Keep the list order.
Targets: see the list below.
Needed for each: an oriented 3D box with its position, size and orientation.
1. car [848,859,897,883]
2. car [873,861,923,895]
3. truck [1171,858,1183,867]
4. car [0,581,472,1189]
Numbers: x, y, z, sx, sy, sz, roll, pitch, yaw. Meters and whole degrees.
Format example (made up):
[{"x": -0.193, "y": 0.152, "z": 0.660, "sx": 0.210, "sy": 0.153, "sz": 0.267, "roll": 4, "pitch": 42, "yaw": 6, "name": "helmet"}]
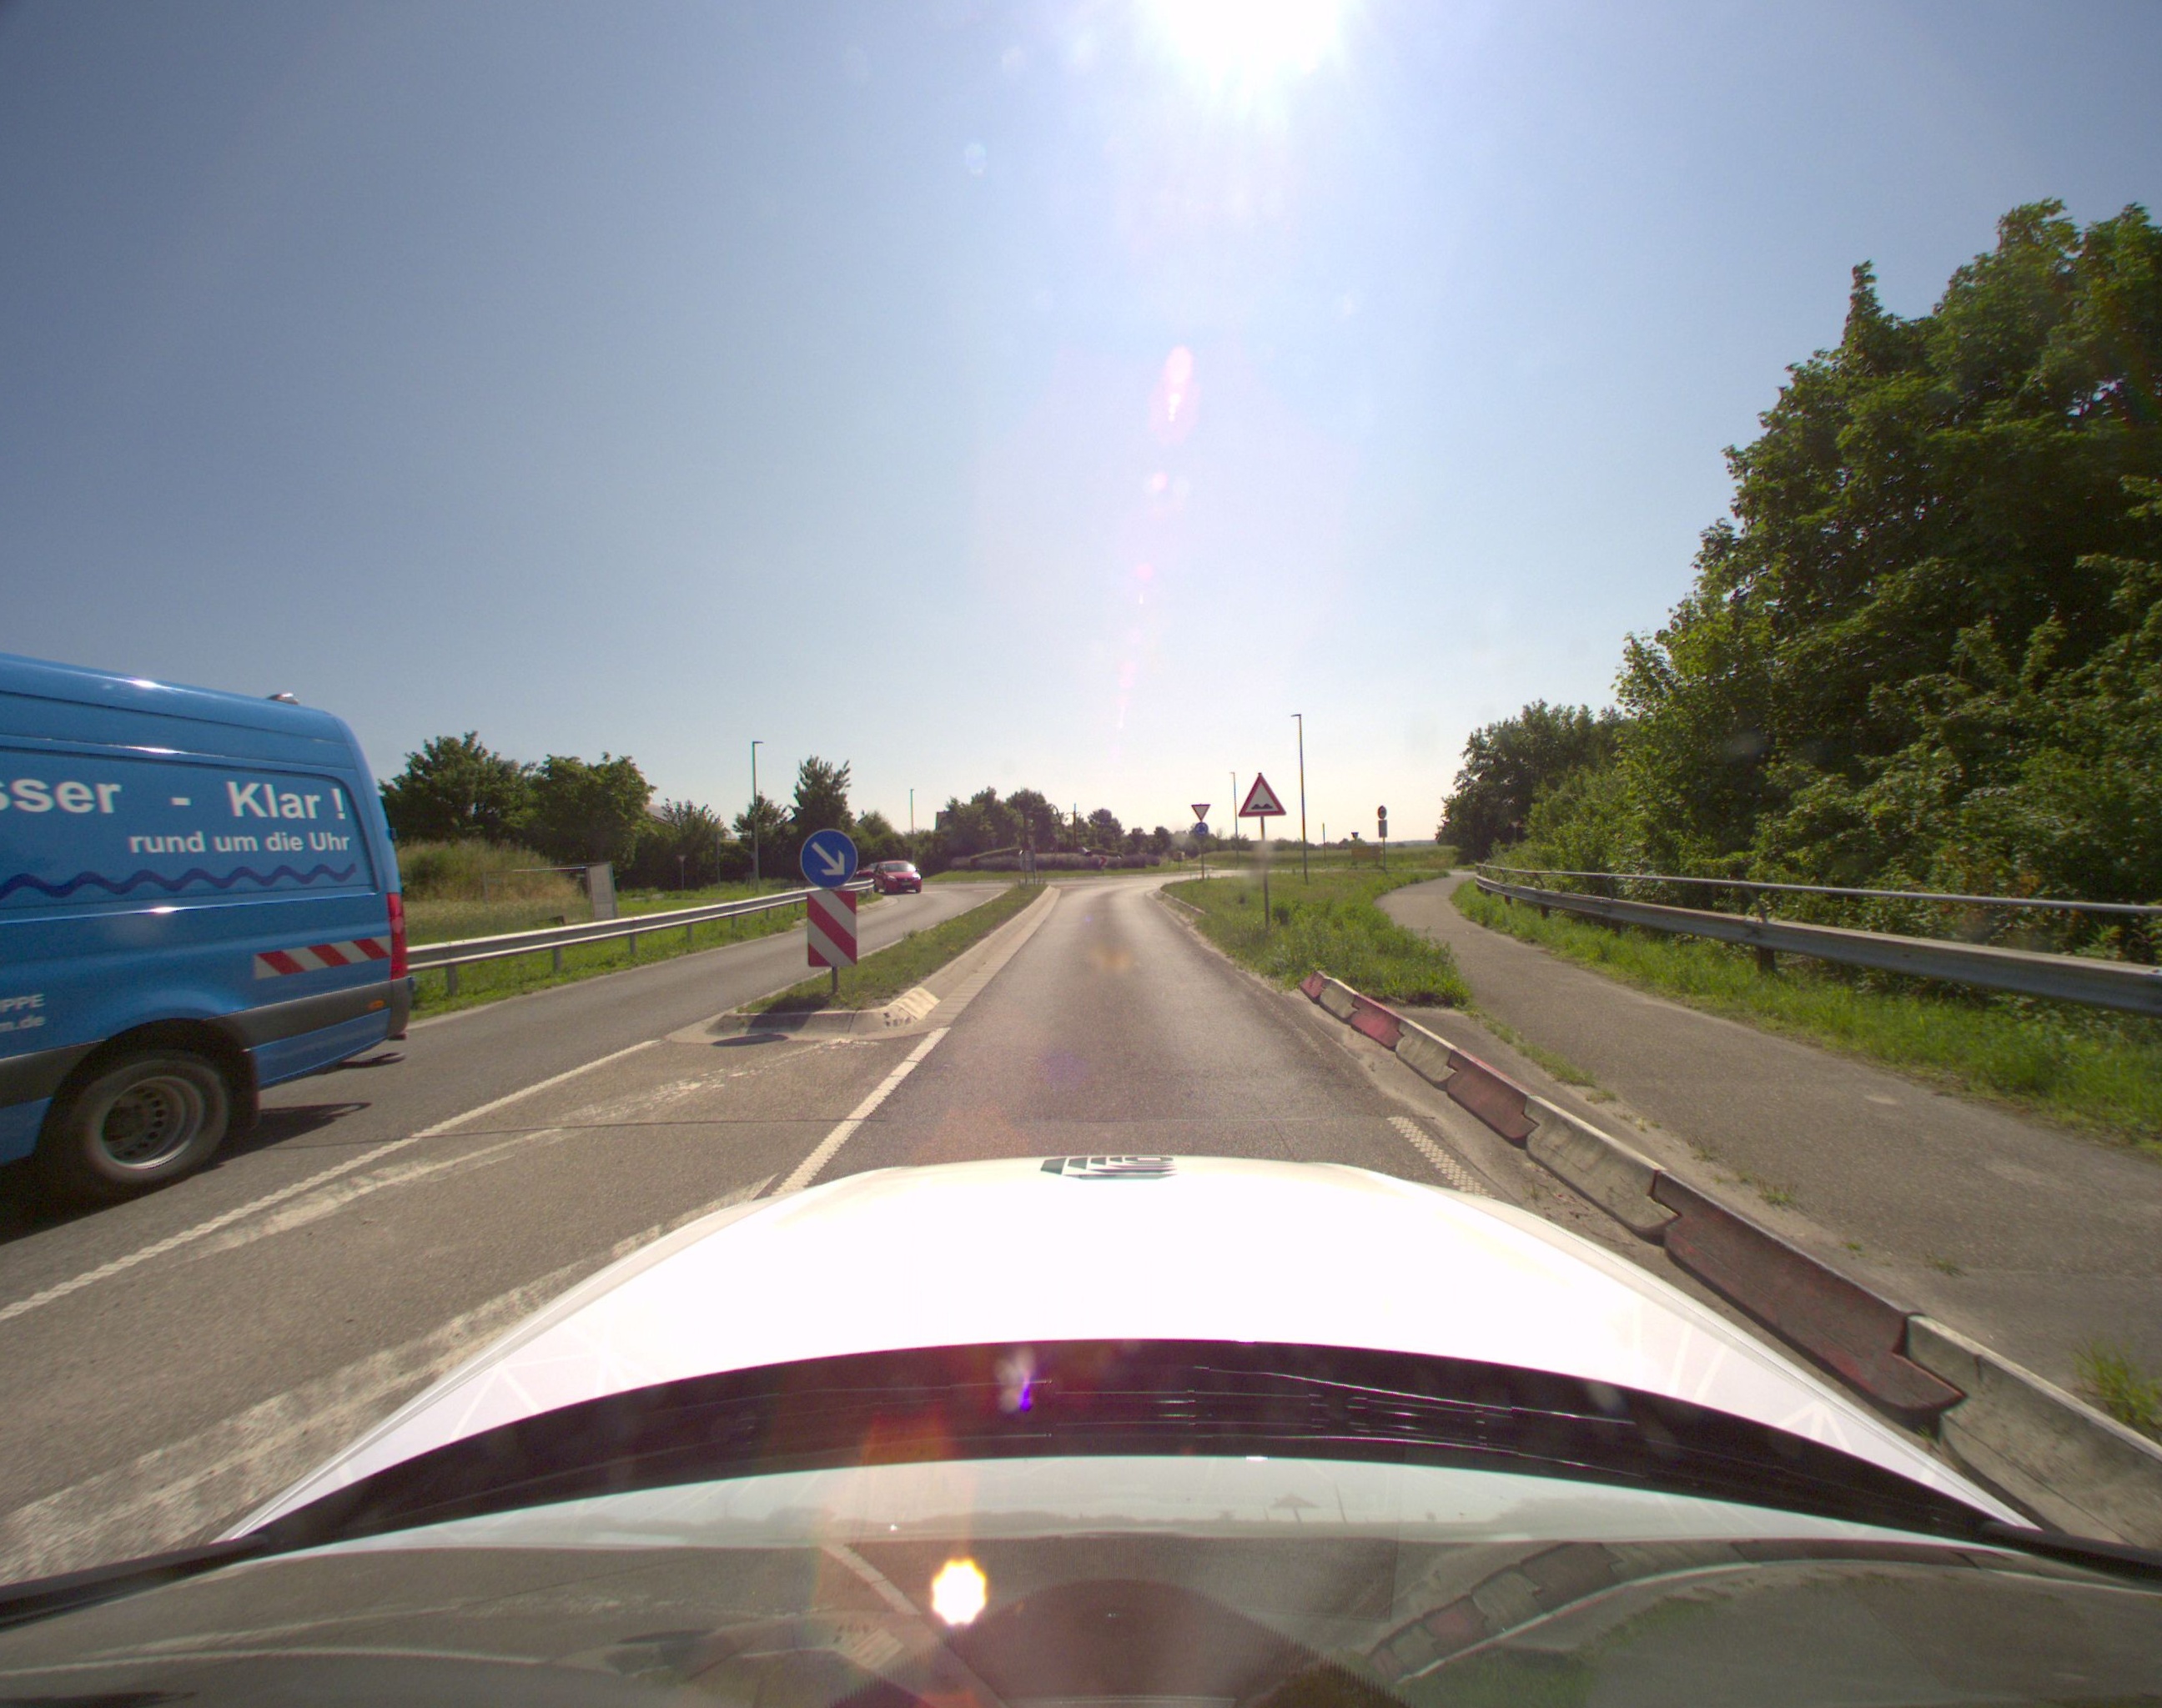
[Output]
[{"x": -14.995, "y": 1.207, "z": 58.835, "sx": 1.732, "sy": 1.523, "sz": 3.845, "roll": -3, "pitch": -1, "yaw": 14, "name": "car"}, {"x": -8.833, "y": 1.188, "z": 39.078, "sx": 1.634, "sy": 1.491, "sz": 3.772, "roll": -2, "pitch": -2, "yaw": -23, "name": "car"}, {"x": 22.127, "y": 2.051, "z": 187.782, "sx": 1.978, "sy": 2.014, "sz": 4.017, "roll": -2, "pitch": -2, "yaw": 16, "name": "truck"}, {"x": -5.659, "y": 0.151, "z": 2.414, "sx": 1.986, "sy": 2.611, "sz": 7.291, "roll": -4, "pitch": -1, "yaw": 1, "name": "car"}]
